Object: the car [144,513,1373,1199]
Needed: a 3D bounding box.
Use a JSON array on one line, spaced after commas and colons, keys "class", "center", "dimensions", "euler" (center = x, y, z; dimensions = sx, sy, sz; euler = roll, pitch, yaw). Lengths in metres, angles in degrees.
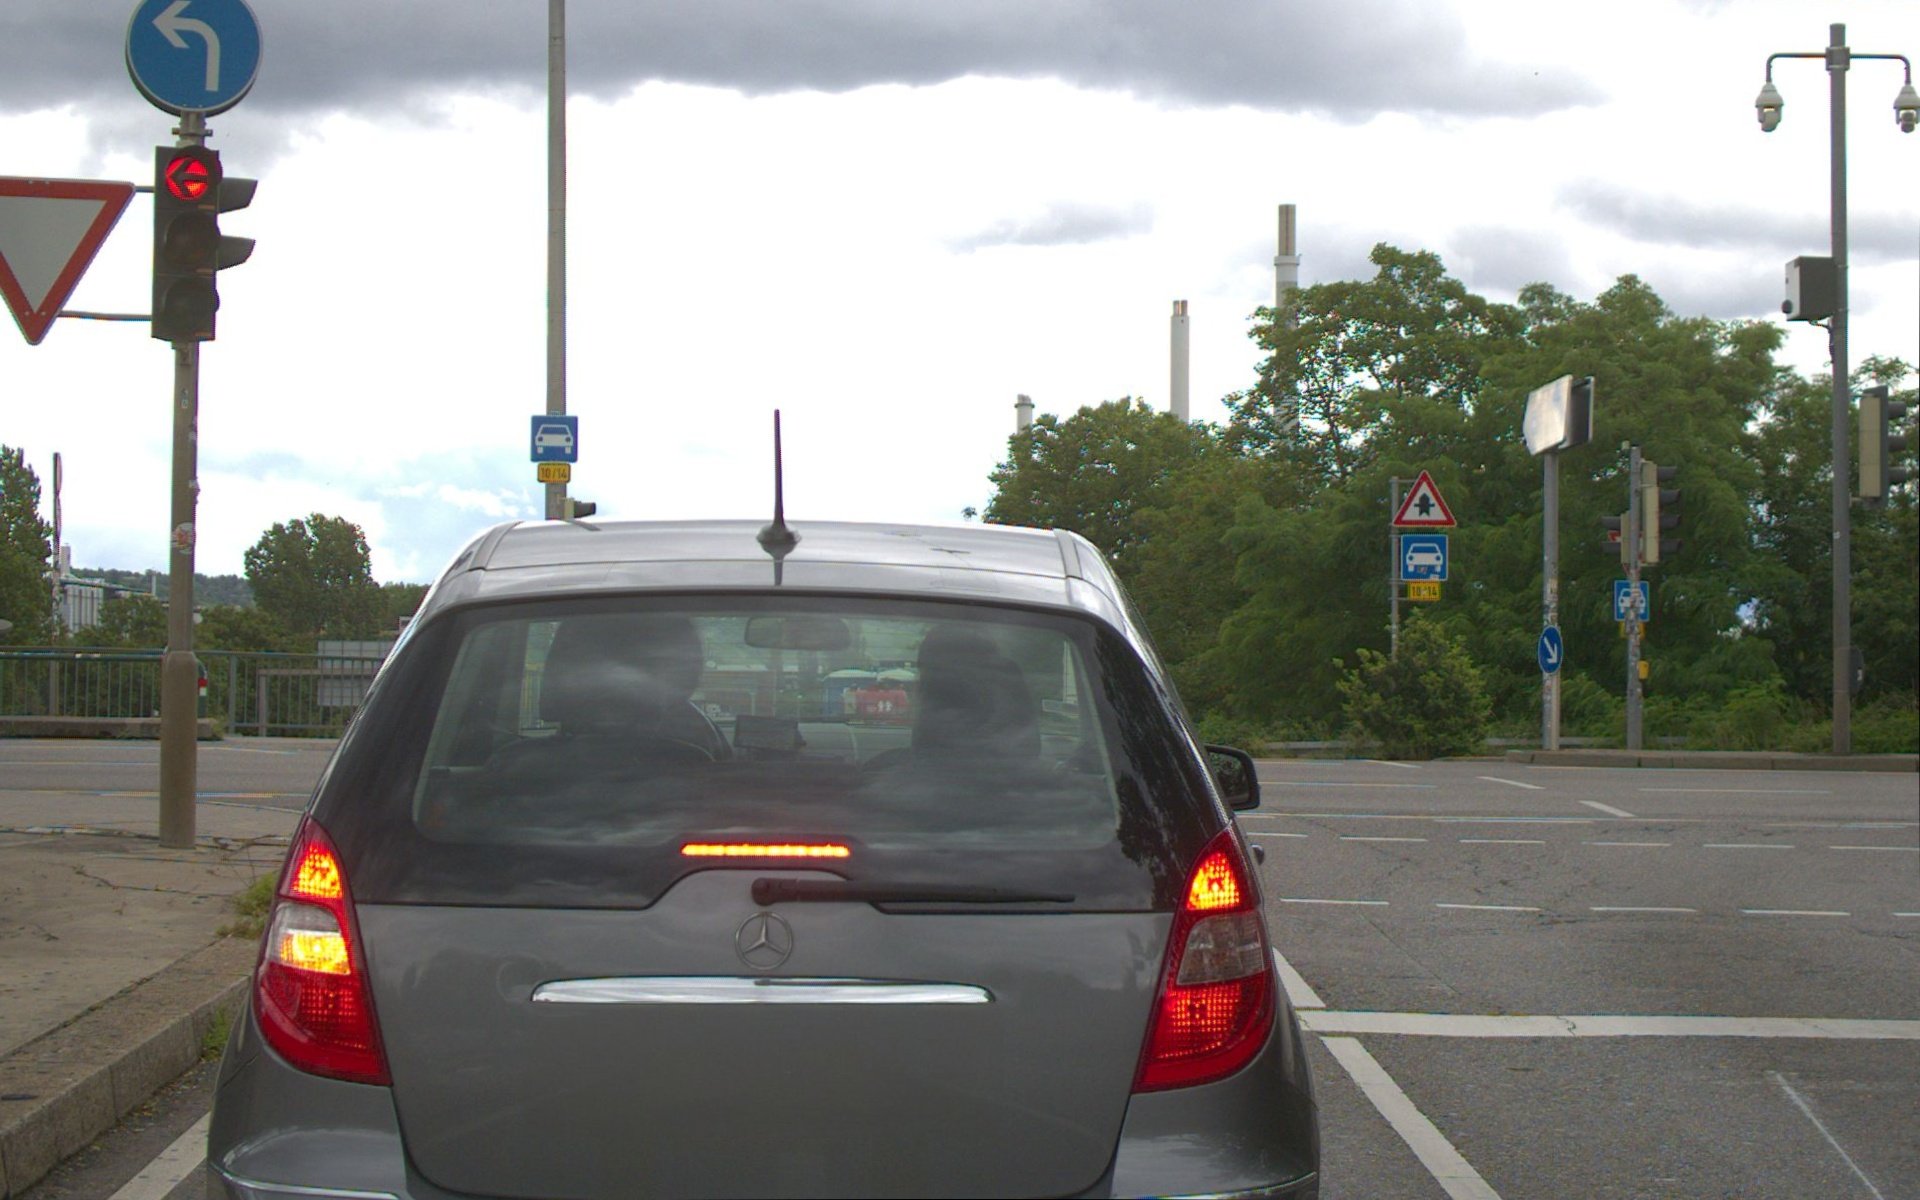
[{"class": "car", "center": [-0.305, 0.639, 6.673], "dimensions": [1.739, 1.538, 3.541], "euler": [1, 1, 0]}]
